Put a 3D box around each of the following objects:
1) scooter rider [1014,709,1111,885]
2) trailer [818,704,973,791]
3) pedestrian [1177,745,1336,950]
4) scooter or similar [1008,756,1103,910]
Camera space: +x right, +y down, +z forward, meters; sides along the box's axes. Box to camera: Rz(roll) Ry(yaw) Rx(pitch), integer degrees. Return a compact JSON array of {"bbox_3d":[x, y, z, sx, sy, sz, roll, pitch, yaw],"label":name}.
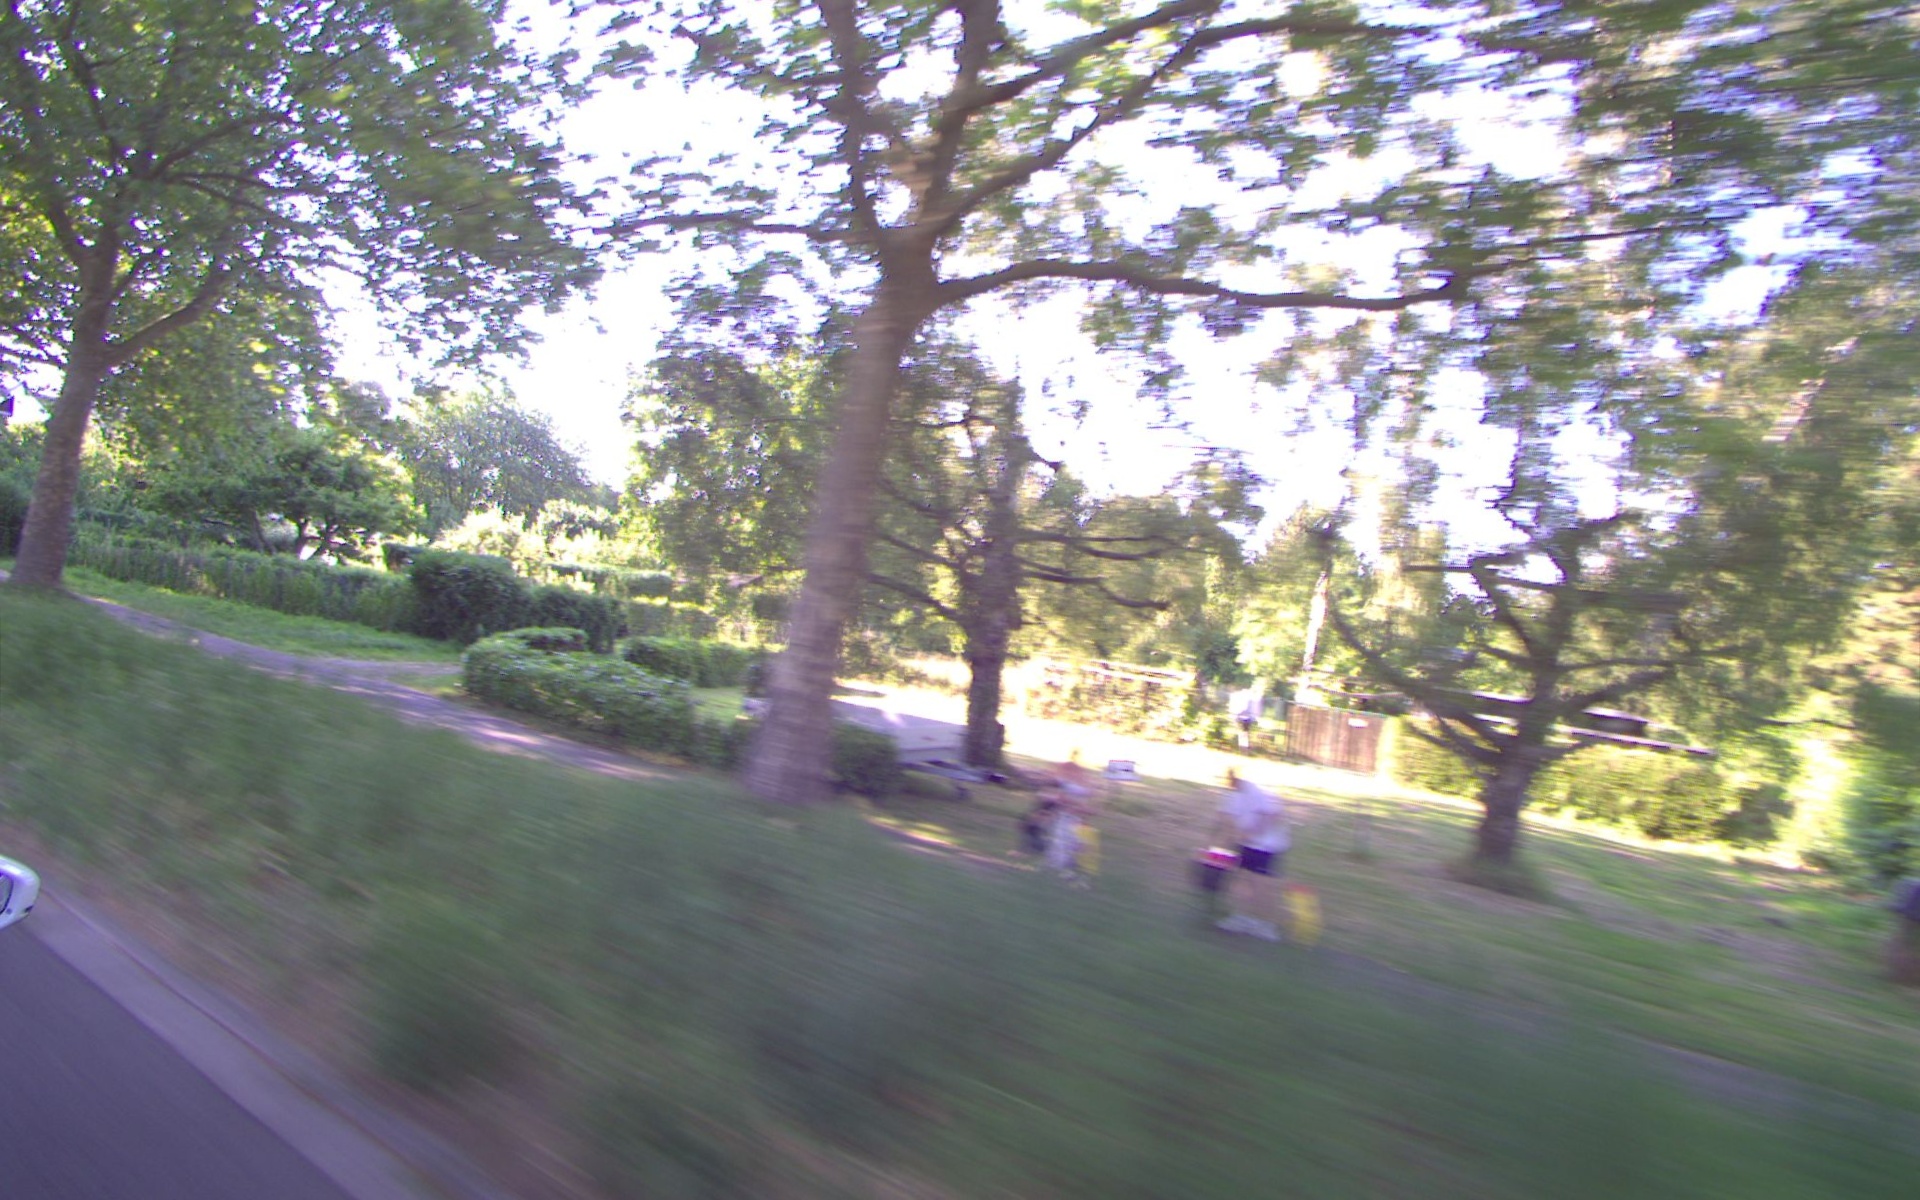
[{"bbox_3d":[1.041,1.996,10.395,0.770,1.594,0.846,7,-1,3],"label":"scooter rider"},{"bbox_3d":[-0.949,2.240,15.402,1.182,1.064,2.119,6,-3,36],"label":"trailer"},{"bbox_3d":[2.759,2.282,9.481,1.184,1.594,0.846,7,-1,11],"label":"pedestrian"},{"bbox_3d":[0.902,2.226,9.855,0.335,1.148,1.597,7,-2,-12],"label":"scooter or similar"}]
